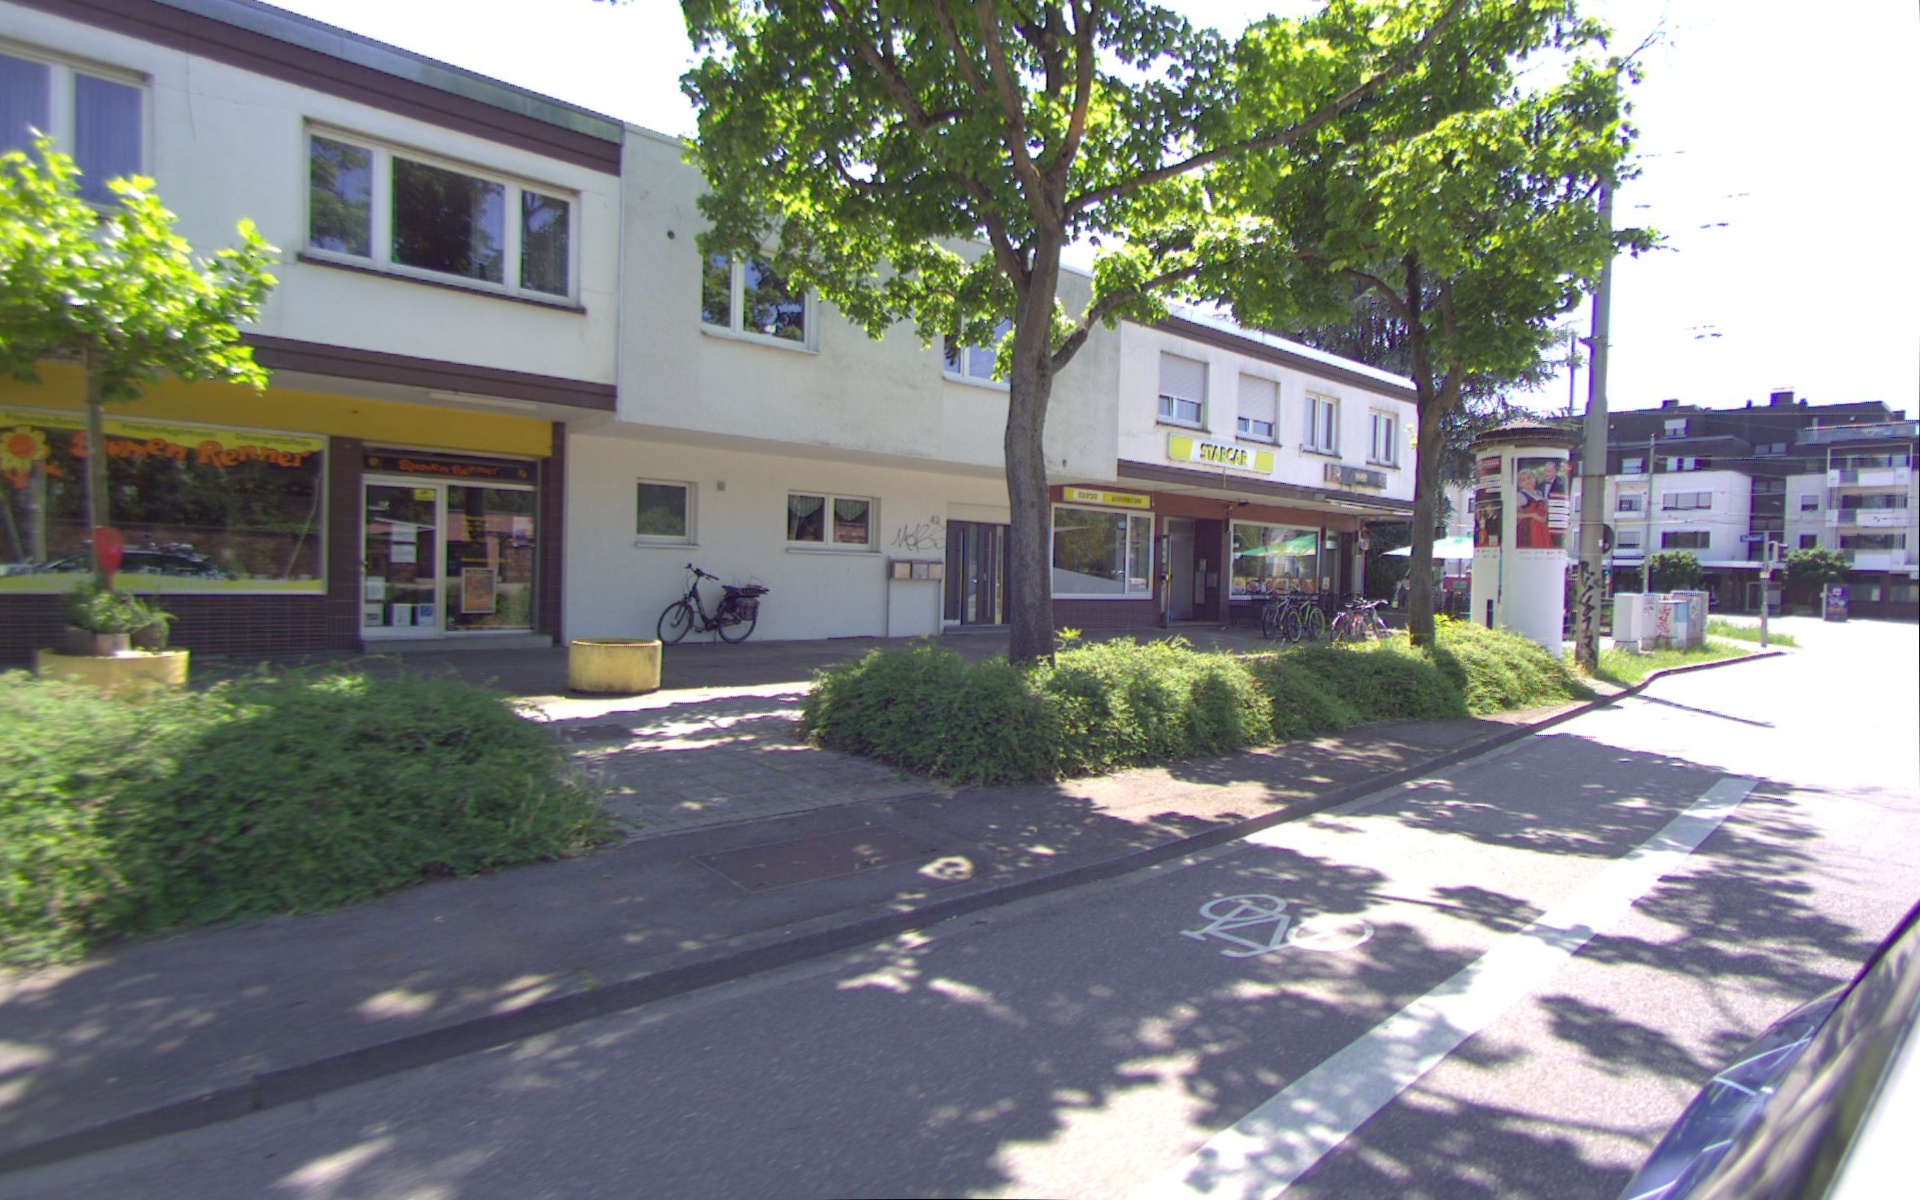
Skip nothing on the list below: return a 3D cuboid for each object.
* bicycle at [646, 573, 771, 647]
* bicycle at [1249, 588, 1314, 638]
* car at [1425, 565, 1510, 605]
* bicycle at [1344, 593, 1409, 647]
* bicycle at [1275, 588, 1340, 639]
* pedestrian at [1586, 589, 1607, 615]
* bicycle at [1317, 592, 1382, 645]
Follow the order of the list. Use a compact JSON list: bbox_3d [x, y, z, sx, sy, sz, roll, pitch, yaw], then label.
[{"bbox_3d":[-3.872,0.141,15.707,0.542,1.081,1.870,2,2,44],"label":"bicycle"},{"bbox_3d":[7.354,0.284,23.083,0.542,1.081,1.990,2,2,44],"label":"bicycle"},{"bbox_3d":[37.463,-1.127,74.804,1.966,2.761,5.199,1,2,-41],"label":"car"},{"bbox_3d":[8.797,0.407,21.335,0.542,1.081,1.990,2,2,44],"label":"bicycle"},{"bbox_3d":[7.802,0.288,22.678,0.542,1.081,1.990,2,2,44],"label":"bicycle"},{"bbox_3d":[41.062,0.151,65.258,0.925,1.645,0.808,1,1,-35],"label":"pedestrian"},{"bbox_3d":[8.403,0.381,21.769,0.542,1.081,1.990,2,2,44],"label":"bicycle"}]
